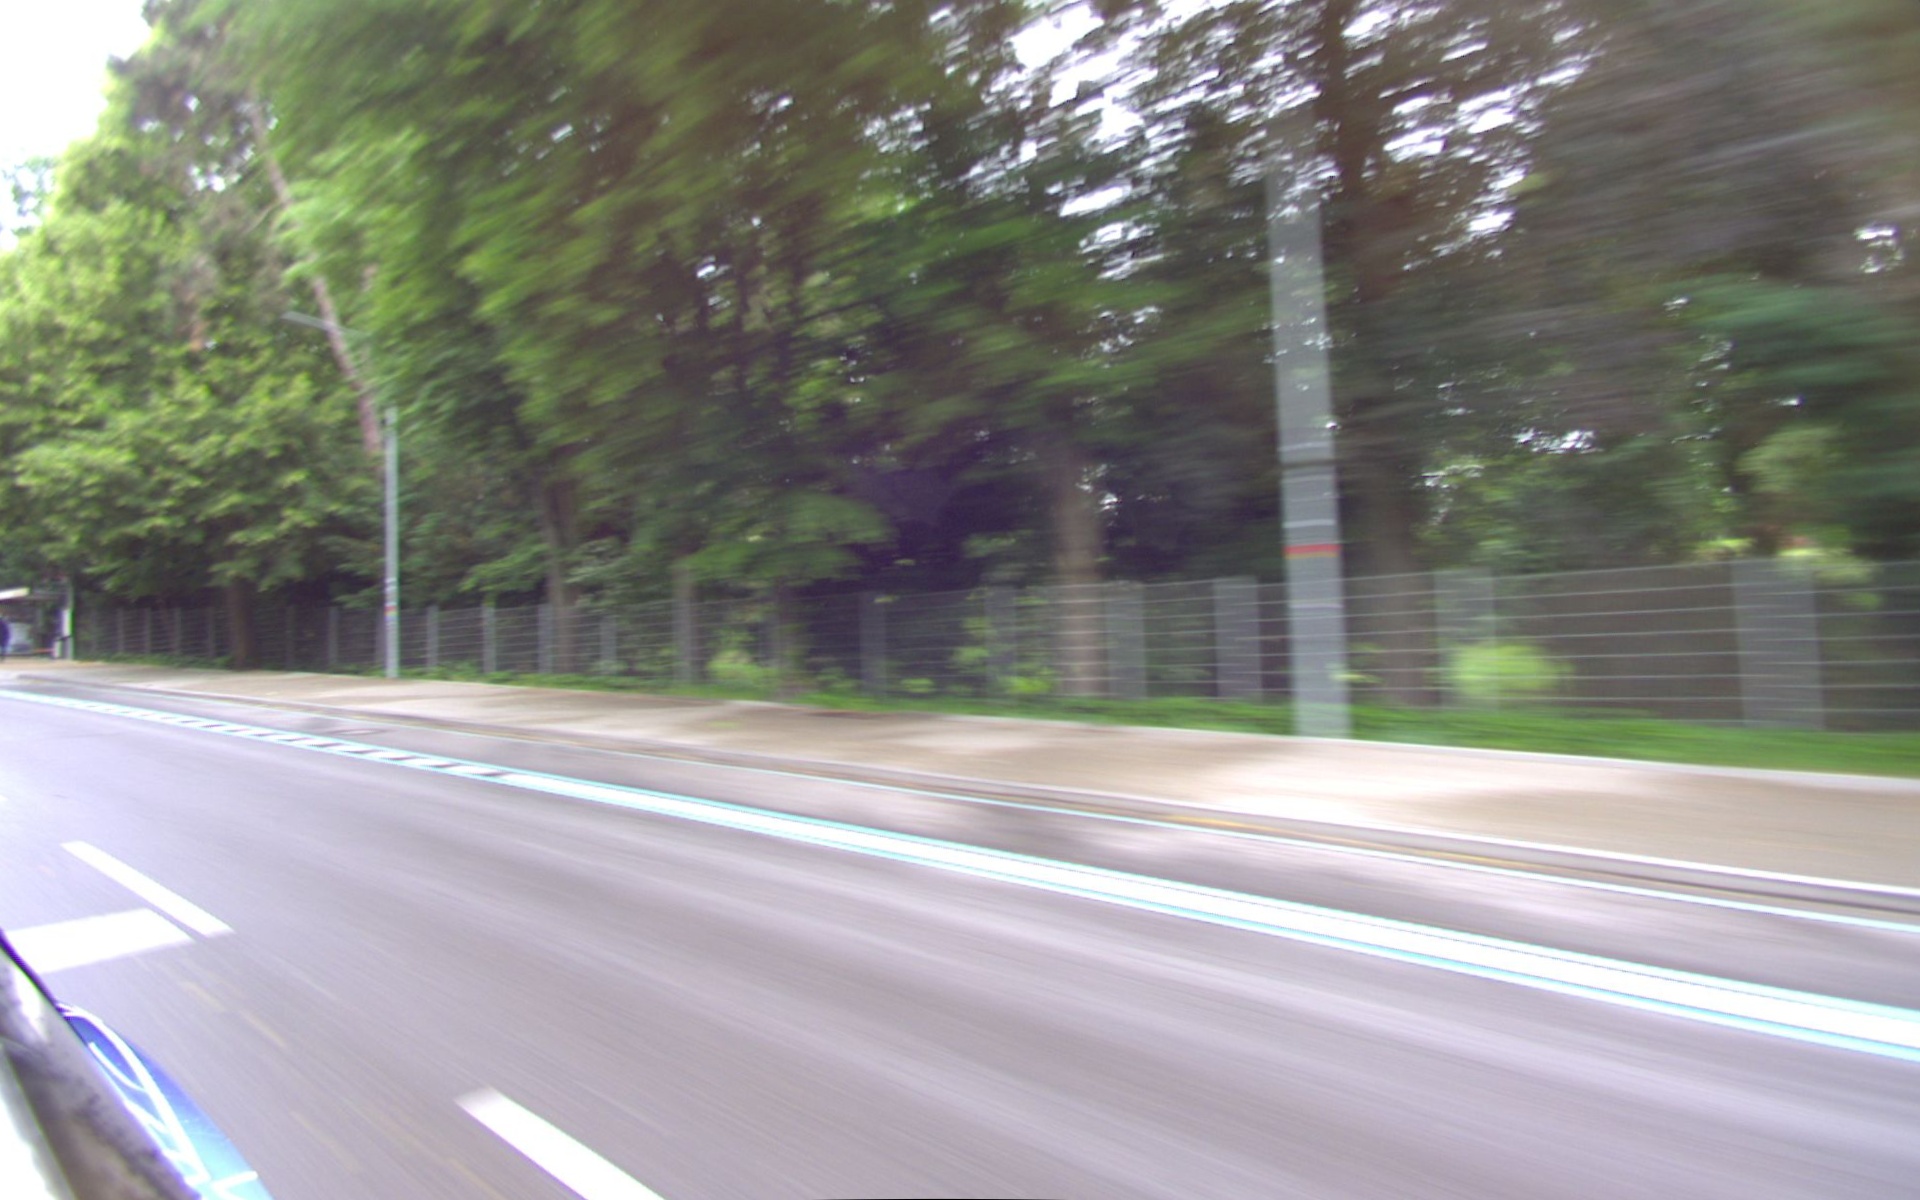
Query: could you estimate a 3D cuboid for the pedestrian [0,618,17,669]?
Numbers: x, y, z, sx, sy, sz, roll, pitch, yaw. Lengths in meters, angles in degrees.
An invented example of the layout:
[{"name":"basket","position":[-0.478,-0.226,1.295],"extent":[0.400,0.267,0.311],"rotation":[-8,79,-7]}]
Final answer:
[{"name":"pedestrian","position":[-33.438,1.489,35.002],"extent":[1.141,1.746,0.881],"rotation":[-1,-1,28]}]
